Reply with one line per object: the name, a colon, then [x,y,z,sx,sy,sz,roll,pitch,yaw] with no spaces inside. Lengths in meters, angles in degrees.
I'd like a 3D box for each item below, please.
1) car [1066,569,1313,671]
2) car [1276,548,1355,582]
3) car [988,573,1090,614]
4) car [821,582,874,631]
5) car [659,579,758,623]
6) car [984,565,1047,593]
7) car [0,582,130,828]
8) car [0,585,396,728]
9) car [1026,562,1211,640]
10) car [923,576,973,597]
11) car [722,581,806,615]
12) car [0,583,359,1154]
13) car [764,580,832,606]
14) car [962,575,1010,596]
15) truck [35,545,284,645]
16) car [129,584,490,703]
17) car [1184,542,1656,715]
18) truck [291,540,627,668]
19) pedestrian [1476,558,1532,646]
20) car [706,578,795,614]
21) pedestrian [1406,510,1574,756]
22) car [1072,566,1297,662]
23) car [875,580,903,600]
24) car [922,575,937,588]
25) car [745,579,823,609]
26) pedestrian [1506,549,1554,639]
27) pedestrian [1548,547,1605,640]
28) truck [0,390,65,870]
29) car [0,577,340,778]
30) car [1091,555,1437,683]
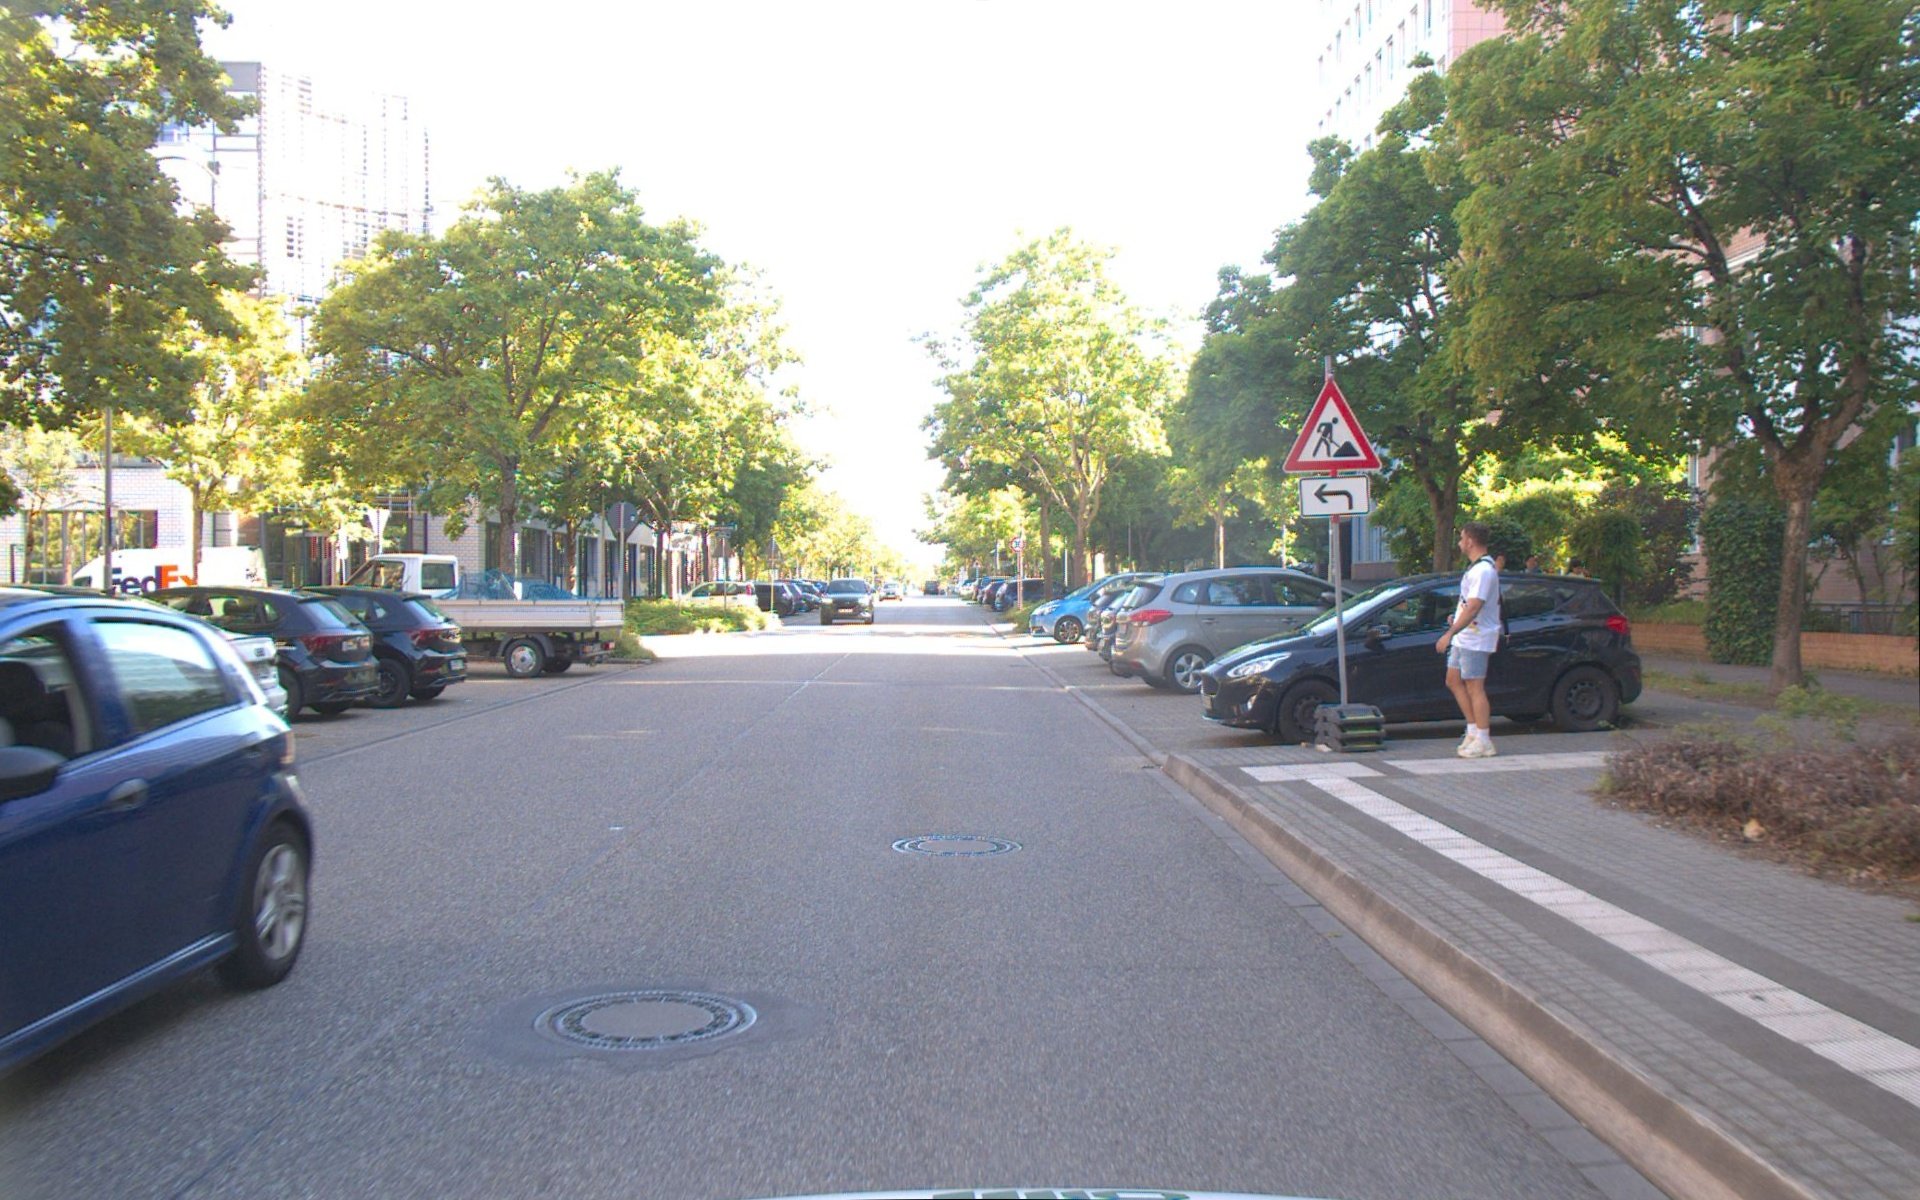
car: [3.776,0.304,27.529,3.727,1.433,1.700,-3,1,-6]
car: [20.393,-2.000,94.869,3.992,1.814,1.998,1,0,-5]
car: [3.370,-0.277,71.023,4.183,1.662,1.857,-1,1,-4]
car: [-4.109,0.221,60.962,1.854,1.713,4.350,-1,1,-3]
car: [-9.361,0.046,61.802,3.509,1.577,1.636,0,-2,-4]
car: [3.439,-1.318,102.744,3.813,1.685,1.858,0,0,-1]
car: [-8.140,0.622,10.854,4.338,1.513,1.999,1,1,-3]
car: [-8.563,0.598,18.489,3.906,1.460,1.722,-1,1,-1]
car: [3.877,-0.002,40.969,4.317,1.646,1.911,-3,1,-2]
car: [-1.021,-1.117,135.607,3.910,1.653,1.998,0,0,-6]
car: [-8.948,-0.101,75.778,3.657,1.489,1.676,0,0,-2]
car: [-3.261,0.685,4.823,1.610,1.445,3.999,-1,1,-1]
car: [-9.499,-0.400,97.112,3.814,1.489,1.857,0,0,-2]
car: [2.226,-1.233,142.408,3.910,1.823,1.998,0,0,-6]
truck: [-23.276,-0.168,48.354,5.987,2.752,2.574,-1,1,-7]
car: [-8.258,0.524,21.216,3.903,1.460,1.790,0,0,3]
car: [4.150,0.233,15.314,3.856,1.464,1.773,-1,1,-3]
truck: [-8.201,0.051,27.439,4.882,1.993,2.139,0,1,1]
pedestrian: [9.377,0.026,28.526,0.686,1.483,0.715,-1,1,-4]
car: [-9.016,-0.185,71.506,3.657,1.489,1.676,0,0,-2]
pedestrian: [3.983,0.228,12.463,0.902,1.740,0.695,-4,1,-14]
car: [4.034,0.225,30.184,3.769,1.509,1.824,-3,1,-2]
car: [-5.362,-0.787,125.308,1.775,1.440,4.109,0,1,2]
car: [-3.821,-2.364,207.666,1.894,1.625,4.365,-1,1,-1]
car: [-8.890,-0.319,83.830,3.814,1.489,1.857,0,0,-2]
pedestrian: [9.923,-0.111,28.811,0.590,1.547,0.594,-1,1,-3]
pedestrian: [10.736,-0.116,28.820,0.741,1.579,0.559,-1,1,-4]
truck: [-7.977,0.183,7.948,6.105,2.464,2.187,0,0,-1]
car: [-7.706,0.576,13.642,4.450,1.467,1.889,1,1,-3]
car: [4.073,0.229,22.536,4.269,1.625,1.936,-1,1,-7]
